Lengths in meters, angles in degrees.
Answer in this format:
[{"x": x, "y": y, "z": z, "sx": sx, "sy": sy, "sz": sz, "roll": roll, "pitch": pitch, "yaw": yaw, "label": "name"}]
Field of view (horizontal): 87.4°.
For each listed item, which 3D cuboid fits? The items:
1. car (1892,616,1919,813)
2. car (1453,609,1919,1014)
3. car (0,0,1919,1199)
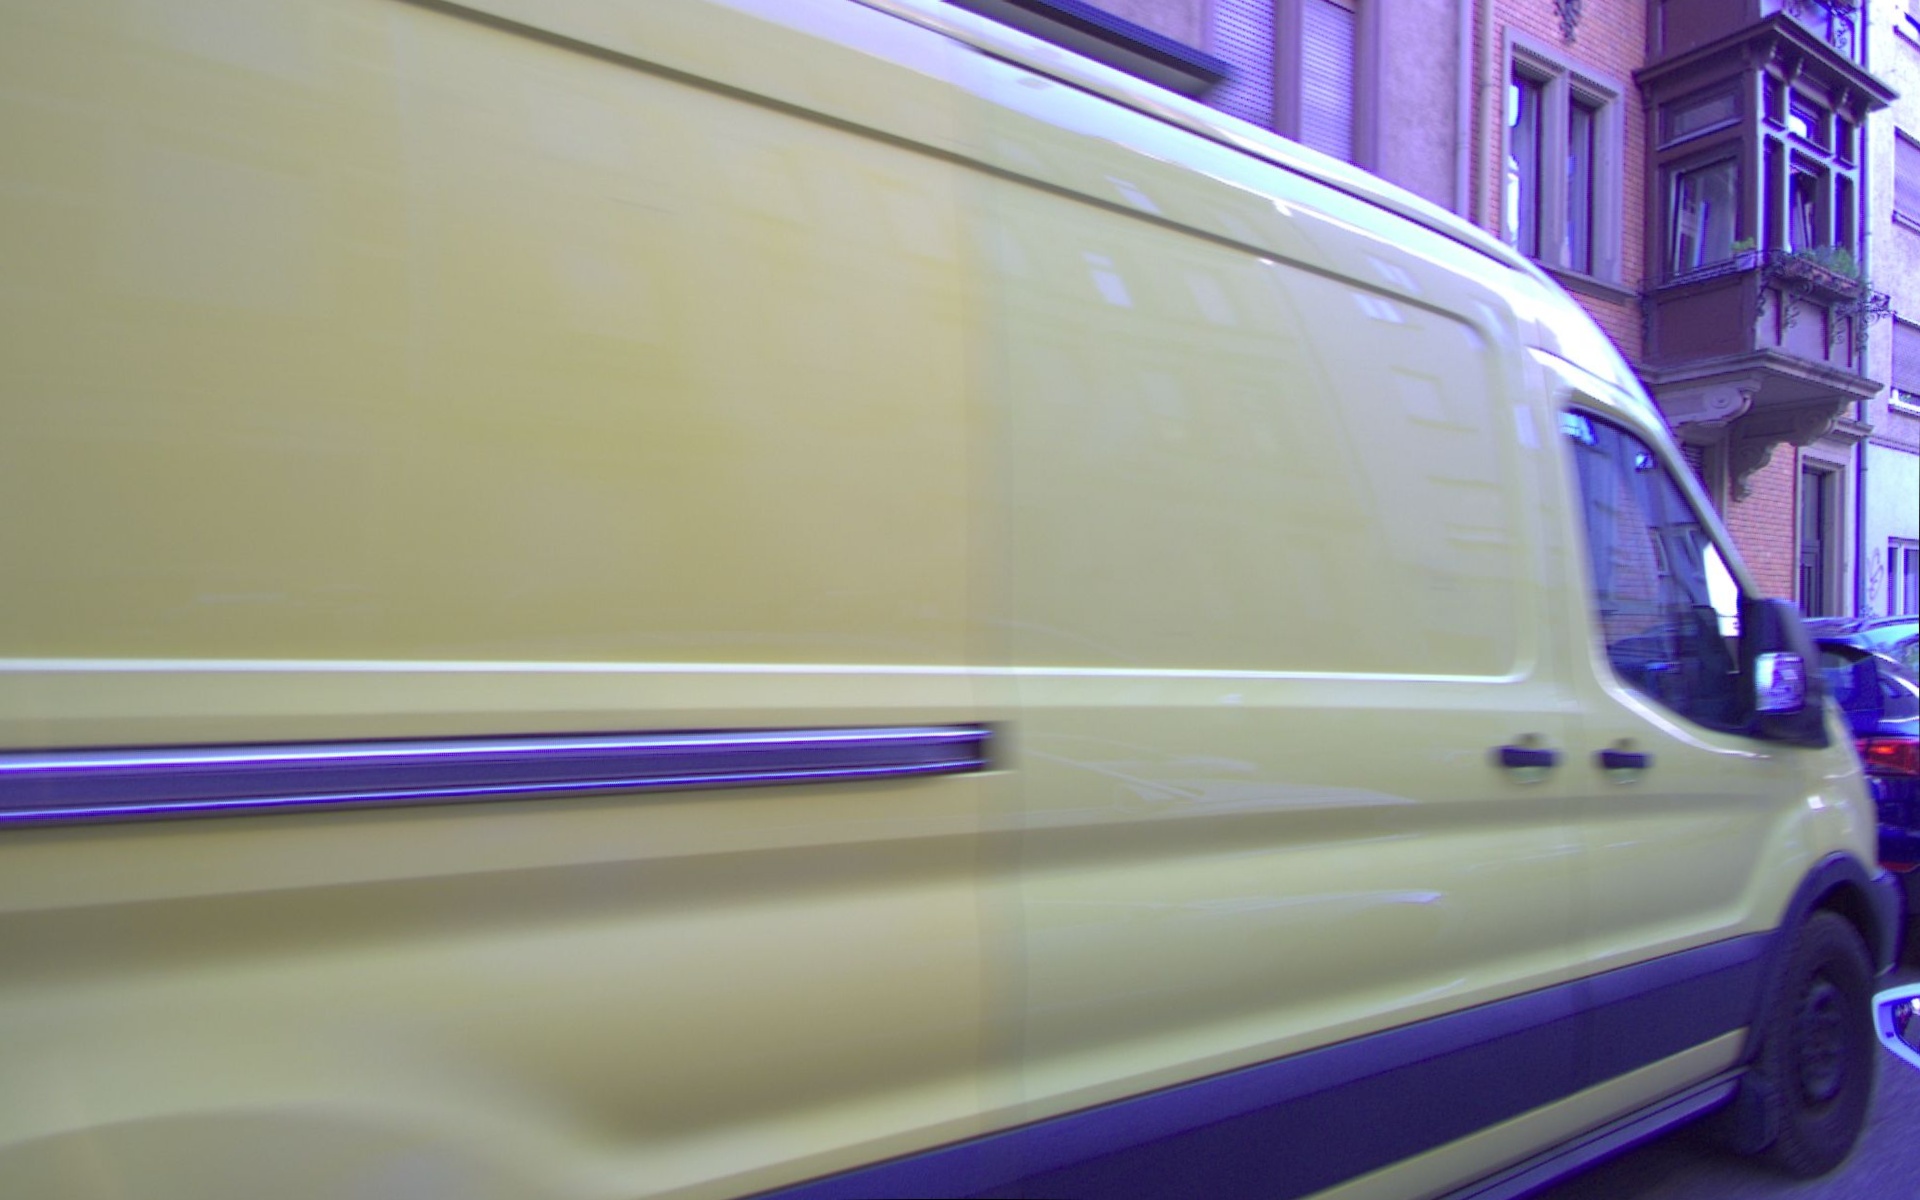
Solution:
[{"x": 9.059, "y": 0.880, "z": 7.819, "sx": 3.602, "sy": 1.469, "sz": 1.669, "roll": 1, "pitch": 0, "yaw": -30, "label": "car"}, {"x": 4.945, "y": 0.857, "z": 5.765, "sx": 3.954, "sy": 1.572, "sz": 1.984, "roll": 1, "pitch": -1, "yaw": -31, "label": "car"}, {"x": 0.334, "y": 0.305, "z": 2.686, "sx": 5.809, "sy": 2.540, "sz": 2.165, "roll": 1, "pitch": -3, "yaw": -31, "label": "car"}]
